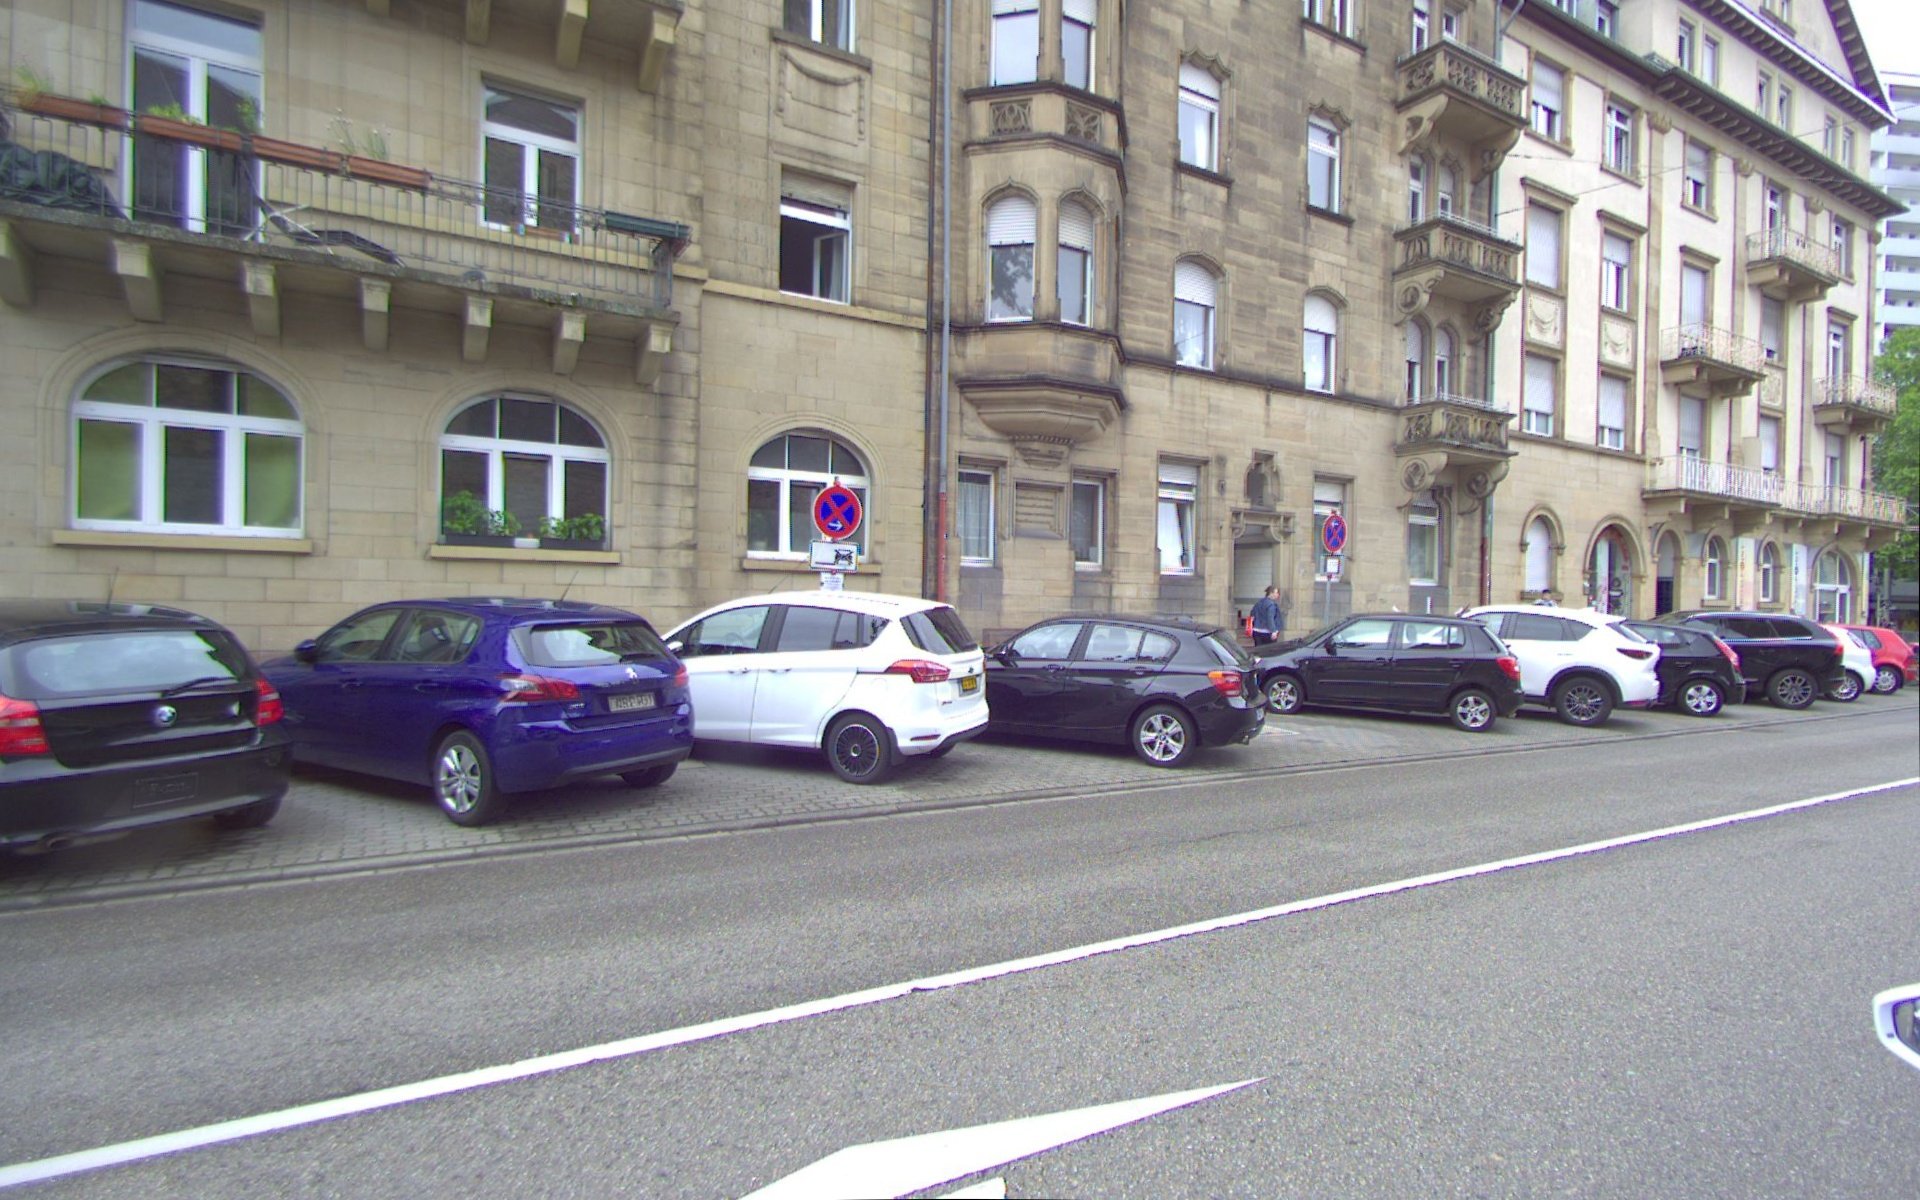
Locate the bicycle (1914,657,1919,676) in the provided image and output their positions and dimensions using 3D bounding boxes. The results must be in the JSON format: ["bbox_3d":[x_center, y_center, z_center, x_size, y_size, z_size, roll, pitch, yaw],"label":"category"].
[{"bbox_3d":[25.344,1.794,25.175,1.017,0.451,1.876,-1,6,-31],"label":"bicycle"}]

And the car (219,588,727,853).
[{"bbox_3d":[-3.846,0.722,7.846,3.682,1.465,1.820,3,2,30],"label":"car"}]

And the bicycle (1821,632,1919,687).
[{"bbox_3d":[22.045,1.409,24.169,0.437,1.050,1.876,0,6,-31],"label":"bicycle"}]

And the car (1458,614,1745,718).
[{"bbox_3d":[10.938,1.068,17.482,3.923,1.514,1.731,2,0,23],"label":"car"}]

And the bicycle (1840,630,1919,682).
[{"bbox_3d":[23.048,1.393,24.800,0.437,1.050,1.876,0,6,-31],"label":"bicycle"}]

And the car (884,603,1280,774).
[{"bbox_3d":[1.309,0.840,10.933,3.924,1.436,1.660,2,1,25],"label":"car"}]

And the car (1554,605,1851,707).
[{"bbox_3d":[13.845,0.994,19.018,4.141,1.674,1.732,2,0,18],"label":"car"}]

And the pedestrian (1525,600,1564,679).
[{"bbox_3d":[13.511,0.906,23.232,0.544,1.809,0.564,1,0,-29],"label":"pedestrian"}]

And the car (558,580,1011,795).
[{"bbox_3d":[-1.674,0.681,9.595,3.922,1.575,1.702,3,2,22],"label":"car"}]

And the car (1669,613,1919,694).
[{"bbox_3d":[18.299,1.136,22.186,3.919,1.492,1.684,2,2,12],"label":"car"}]

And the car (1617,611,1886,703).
[{"bbox_3d":[15.990,1.098,20.527,3.920,1.492,1.564,3,3,18],"label":"car"}]

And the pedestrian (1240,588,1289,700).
[{"bbox_3d":[5.519,0.778,18.220,0.544,1.984,0.616,1,0,-29],"label":"pedestrian"}]

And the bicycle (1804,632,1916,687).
[{"bbox_3d":[21.307,1.392,23.836,0.436,1.050,1.879,1,4,-26],"label":"bicycle"}]

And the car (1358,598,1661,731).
[{"bbox_3d":[8.530,0.896,15.709,3.935,1.746,1.835,2,0,36],"label":"car"}]

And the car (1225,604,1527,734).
[{"bbox_3d":[5.850,0.903,14.420,3.738,1.517,1.569,3,1,22],"label":"car"}]

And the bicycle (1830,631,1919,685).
[{"bbox_3d":[22.494,1.402,24.451,0.437,1.050,1.876,0,6,-31],"label":"bicycle"}]

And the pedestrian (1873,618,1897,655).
[{"bbox_3d":[45.492,1.772,49.416,0.718,1.795,0.671,1,0,-30],"label":"pedestrian"}]

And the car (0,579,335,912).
[{"bbox_3d":[-5.987,0.667,6.351,3.927,1.457,1.730,3,2,28],"label":"car"}]

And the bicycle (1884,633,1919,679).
[{"bbox_3d":[24.307,1.472,24.937,0.437,1.050,1.876,0,6,-31],"label":"bicycle"}]

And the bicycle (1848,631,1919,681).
[{"bbox_3d":[23.570,1.423,25.152,0.437,1.050,1.876,0,6,-31],"label":"bicycle"}]
